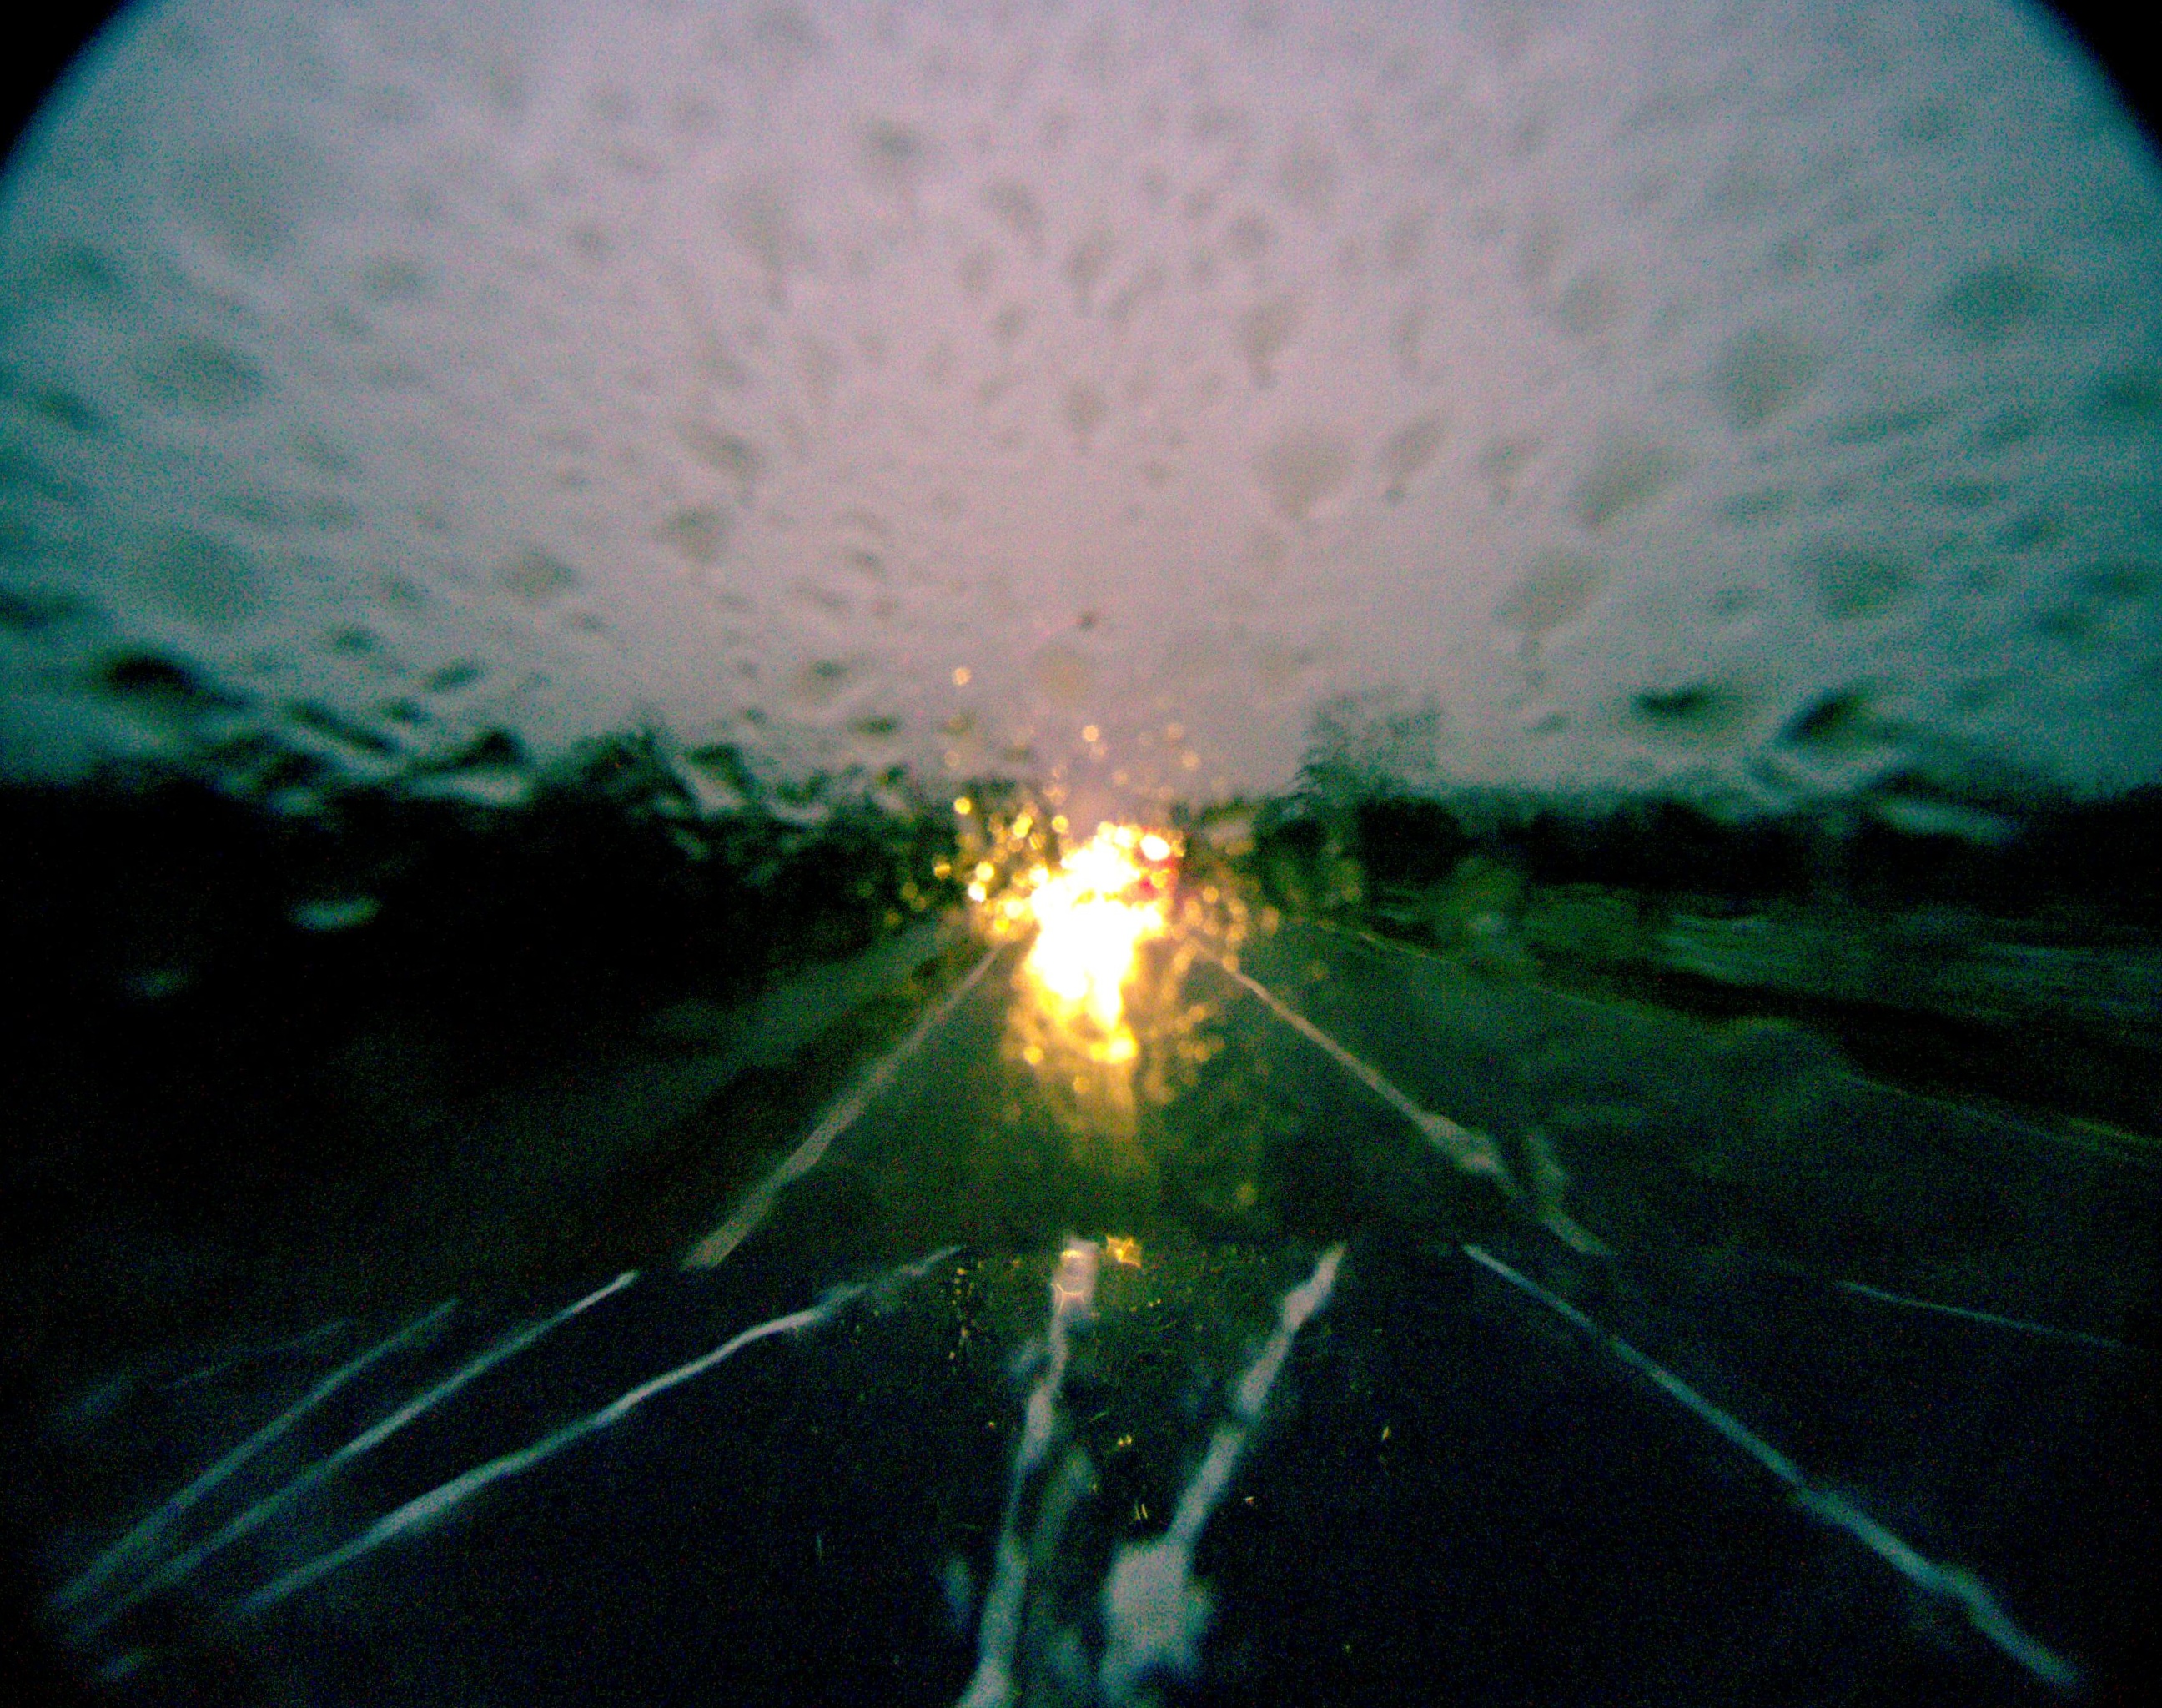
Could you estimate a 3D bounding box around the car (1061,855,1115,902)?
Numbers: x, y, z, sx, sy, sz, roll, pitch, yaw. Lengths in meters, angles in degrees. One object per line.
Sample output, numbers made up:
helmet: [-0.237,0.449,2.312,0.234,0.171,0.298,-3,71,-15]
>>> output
car: [0.281,0.873,28.525,1.860,1.604,4.000,-1,0,1]

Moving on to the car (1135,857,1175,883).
car: [4.562,0.946,47.447,1.860,1.508,4.515,1,0,-2]
